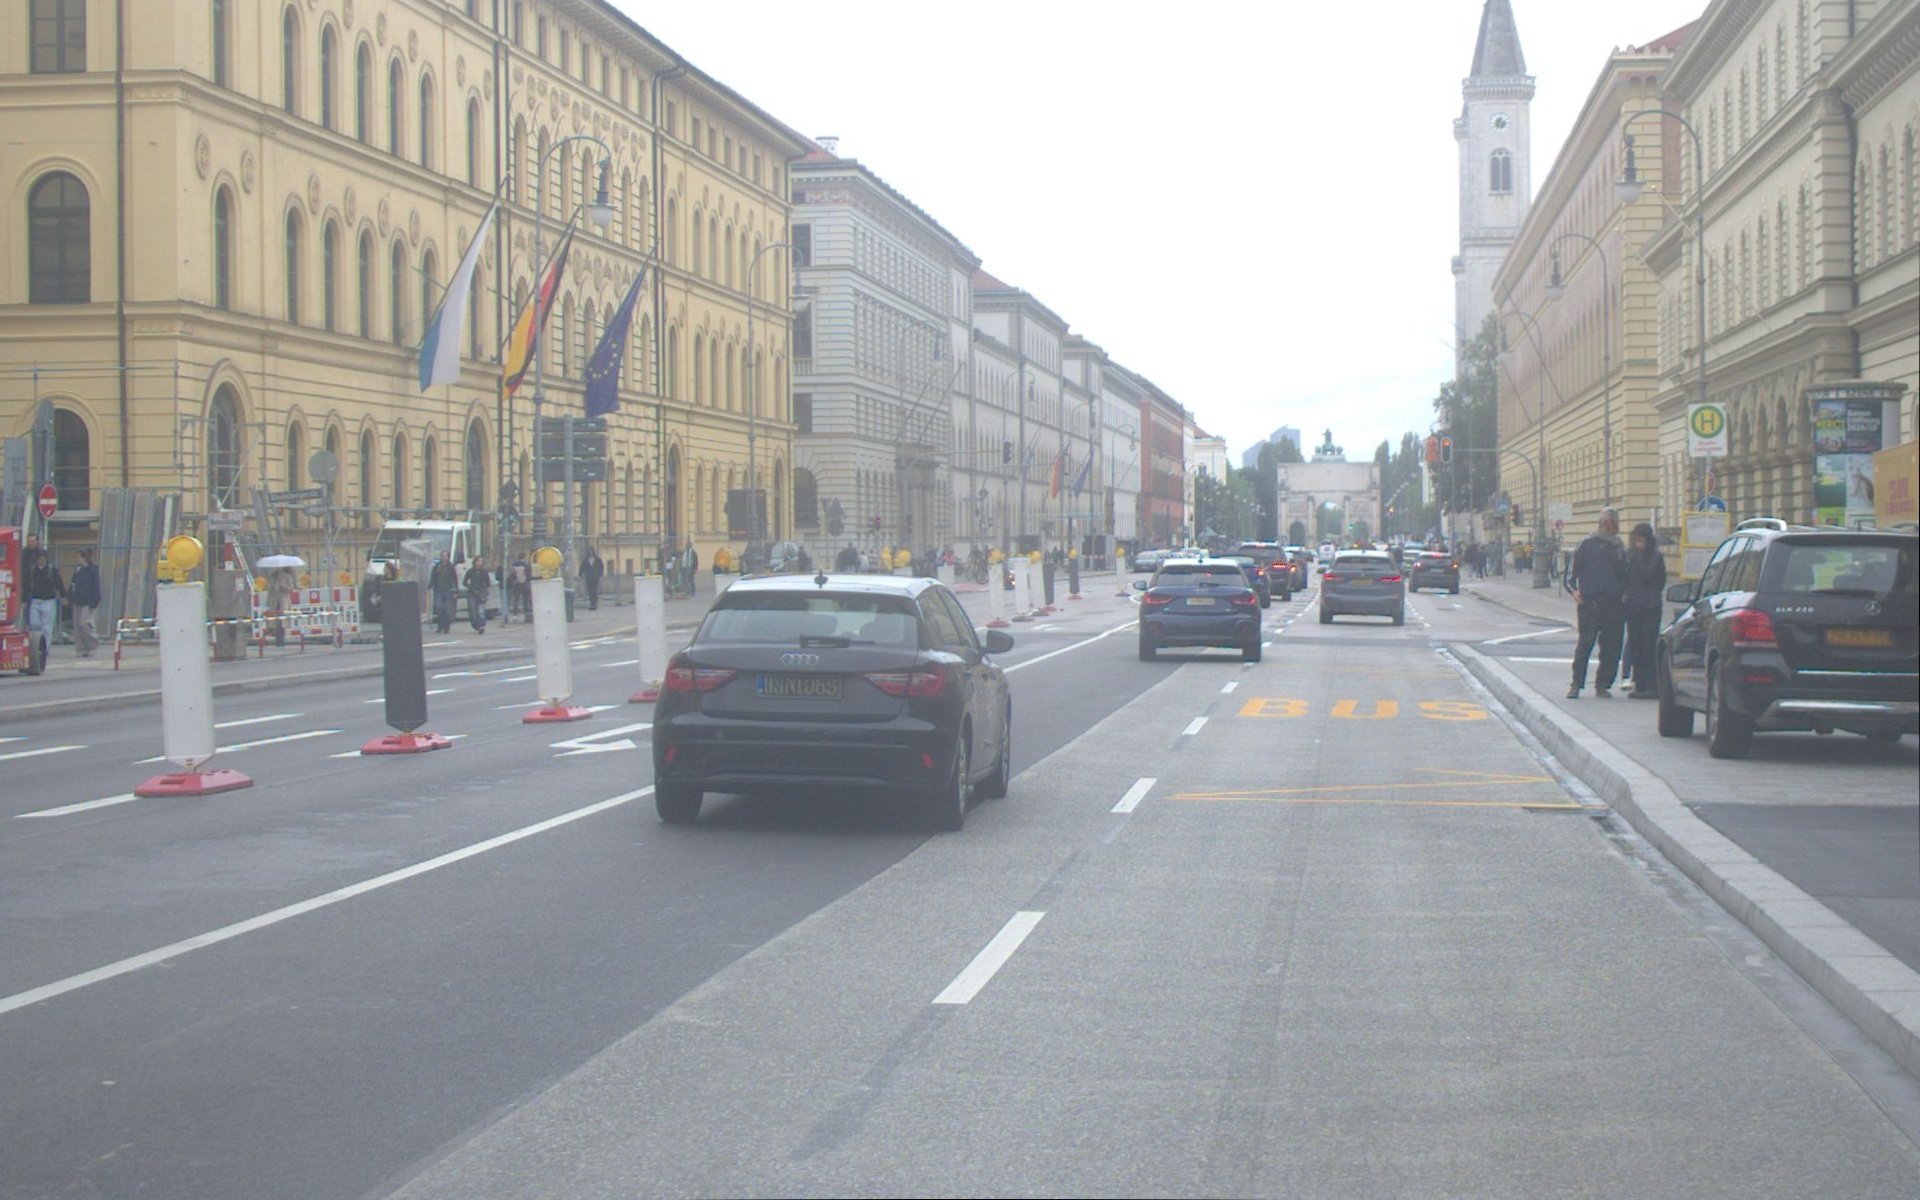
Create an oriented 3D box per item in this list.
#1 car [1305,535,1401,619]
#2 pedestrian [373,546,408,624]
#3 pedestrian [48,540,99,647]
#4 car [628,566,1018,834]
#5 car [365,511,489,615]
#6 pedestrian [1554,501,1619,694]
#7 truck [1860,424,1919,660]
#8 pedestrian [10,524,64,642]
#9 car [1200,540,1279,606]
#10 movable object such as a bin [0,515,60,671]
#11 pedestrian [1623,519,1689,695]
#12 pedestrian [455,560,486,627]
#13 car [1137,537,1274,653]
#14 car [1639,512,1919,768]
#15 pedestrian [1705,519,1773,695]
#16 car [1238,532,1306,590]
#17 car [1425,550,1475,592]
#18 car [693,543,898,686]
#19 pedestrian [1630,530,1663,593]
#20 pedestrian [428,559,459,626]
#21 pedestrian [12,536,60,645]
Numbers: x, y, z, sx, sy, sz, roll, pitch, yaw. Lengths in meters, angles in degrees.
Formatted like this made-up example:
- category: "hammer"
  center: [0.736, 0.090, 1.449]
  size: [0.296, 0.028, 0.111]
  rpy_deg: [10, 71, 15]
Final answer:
- category: "car"
  center: [8.577, -0.519, 74.898]
  size: [1.994, 1.766, 3.999]
  rpy_deg: [0, 1, 7]
- category: "pedestrian"
  center: [-11.178, -0.295, 67.478]
  size: [0.552, 1.525, 0.617]
  rpy_deg: [0, 0, 3]
- category: "pedestrian"
  center: [-13.734, -0.105, 53.280]
  size: [0.612, 1.647, 0.617]
  rpy_deg: [0, 0, 3]
- category: "car"
  center: [-0.700, 0.510, 20.309]
  size: [1.863, 1.383, 4.000]
  rpy_deg: [1, 1, 4]
- category: "car"
  center: [-12.009, -0.816, 77.638]
  size: [1.739, 2.281, 3.999]
  rpy_deg: [0, 0, 7]
- category: "pedestrian"
  center: [6.101, -0.023, 33.490]
  size: [0.616, 1.868, 0.541]
  rpy_deg: [0, 0, 11]
- category: "truck"
  center: [12.779, -0.676, 42.792]
  size: [2.623, 2.755, 5.804]
  rpy_deg: [0, 0, 10]
- category: "pedestrian"
  center: [-15.126, -0.280, 56.323]
  size: [0.679, 1.925, 0.652]
  rpy_deg: [0, 0, 3]
- category: "car"
  center: [7.736, -0.752, 94.759]
  size: [1.994, 1.766, 3.999]
  rpy_deg: [0, 1, 7]
- category: "movable object such as a bin"
  center: [-13.258, -0.091, 43.503]
  size: [1.511, 2.007, 5.974]
  rpy_deg: [0, 0, 7]
- category: "pedestrian"
  center: [6.750, 0.069, 33.360]
  size: [0.616, 1.696, 0.541]
  rpy_deg: [0, 0, 10]
- category: "pedestrian"
  center: [-10.237, -0.134, 71.907]
  size: [0.539, 1.406, 0.617]
  rpy_deg: [0, 0, 3]
- category: "car"
  center: [3.601, -0.061, 49.846]
  size: [1.769, 1.611, 3.999]
  rpy_deg: [0, 0, 7]
- category: "car"
  center: [6.181, 0.237, 24.586]
  size: [2.069, 1.656, 4.222]
  rpy_deg: [1, 1, 4]
- category: "pedestrian"
  center: [7.599, 0.067, 33.562]
  size: [0.616, 1.696, 0.541]
  rpy_deg: [0, 0, 10]
- category: "car"
  center: [9.819, -1.242, 107.997]
  size: [1.994, 1.766, 3.999]
  rpy_deg: [0, 1, 7]
- category: "car"
  center: [19.123, -1.122, 134.292]
  size: [1.860, 1.573, 3.999]
  rpy_deg: [0, 0, 7]
- category: "car"
  center: [-1.894, 0.169, 40.676]
  size: [1.769, 1.611, 3.999]
  rpy_deg: [0, 0, 7]
- category: "pedestrian"
  center: [18.292, -1.024, 91.638]
  size: [0.798, 1.684, 0.800]
  rpy_deg: [0, 0, 7]
- category: "pedestrian"
  center: [-10.817, -0.158, 71.992]
  size: [0.539, 1.402, 0.617]
  rpy_deg: [0, 0, 3]
- category: "pedestrian"
  center: [-14.328, -0.146, 53.317]
  size: [0.552, 1.670, 0.617]
  rpy_deg: [0, 0, 3]
